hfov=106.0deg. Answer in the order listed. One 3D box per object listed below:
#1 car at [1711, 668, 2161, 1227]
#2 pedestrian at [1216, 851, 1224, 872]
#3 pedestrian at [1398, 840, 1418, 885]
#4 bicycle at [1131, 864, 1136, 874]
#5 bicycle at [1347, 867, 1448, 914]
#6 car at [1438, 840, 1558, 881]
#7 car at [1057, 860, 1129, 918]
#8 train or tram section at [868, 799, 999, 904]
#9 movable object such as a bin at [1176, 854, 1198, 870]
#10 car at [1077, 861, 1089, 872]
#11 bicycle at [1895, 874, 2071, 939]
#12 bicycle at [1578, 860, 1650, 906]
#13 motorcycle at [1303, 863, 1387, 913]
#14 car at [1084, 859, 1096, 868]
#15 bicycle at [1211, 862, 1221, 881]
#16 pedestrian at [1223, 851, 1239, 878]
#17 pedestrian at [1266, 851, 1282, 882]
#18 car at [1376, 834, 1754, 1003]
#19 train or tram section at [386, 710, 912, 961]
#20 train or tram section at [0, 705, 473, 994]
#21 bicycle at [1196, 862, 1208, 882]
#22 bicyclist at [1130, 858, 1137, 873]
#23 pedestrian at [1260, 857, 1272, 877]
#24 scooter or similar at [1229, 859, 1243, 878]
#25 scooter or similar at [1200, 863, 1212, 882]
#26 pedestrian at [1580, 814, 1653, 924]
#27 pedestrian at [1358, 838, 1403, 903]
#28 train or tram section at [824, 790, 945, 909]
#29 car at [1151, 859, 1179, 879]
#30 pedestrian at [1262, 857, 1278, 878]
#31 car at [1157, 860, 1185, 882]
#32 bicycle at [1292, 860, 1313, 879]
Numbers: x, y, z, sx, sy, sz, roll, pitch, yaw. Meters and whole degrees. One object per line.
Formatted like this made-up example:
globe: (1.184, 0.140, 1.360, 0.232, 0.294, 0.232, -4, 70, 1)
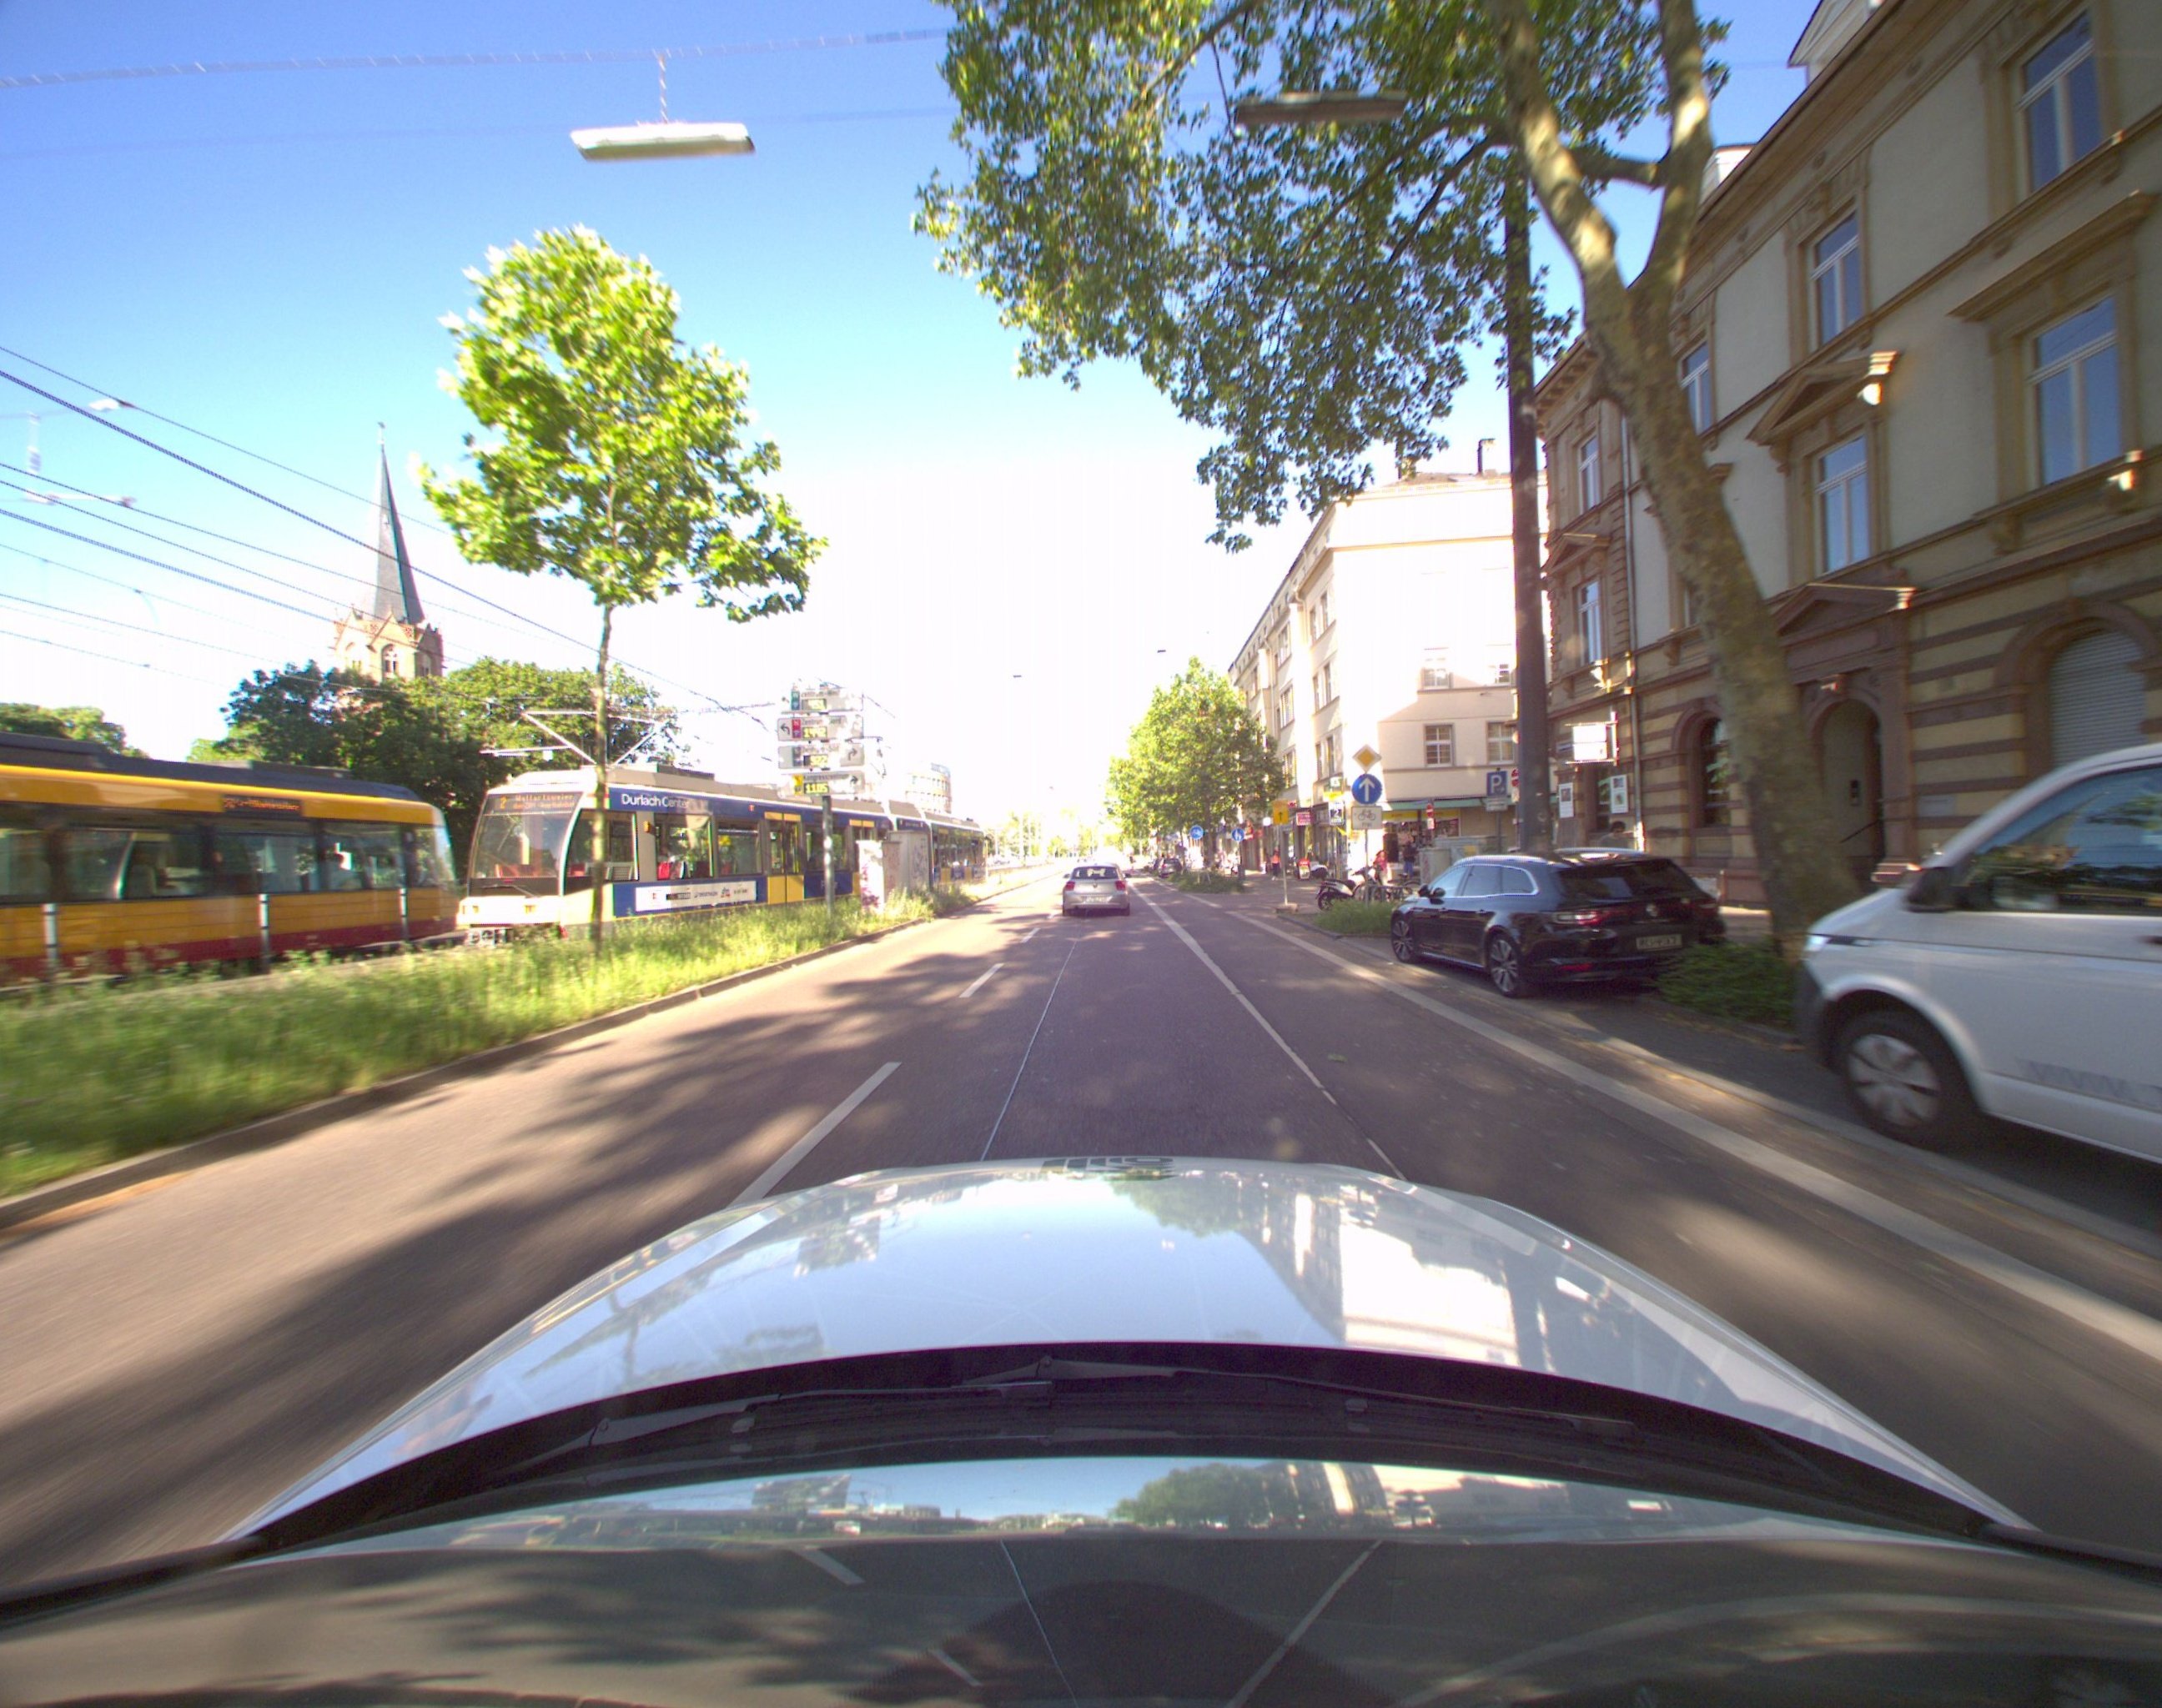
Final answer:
car: (4.783, 0.294, 2.628, 1.849, 2.014, 4.725, -3, -1, 2)
pedestrian: (11.450, 0.590, 67.087, 0.556, 1.711, 0.770, -2, -1, 2)
pedestrian: (14.026, 0.350, 34.910, 0.551, 1.903, 0.586, 0, -1, -10)
bicycle: (5.674, 1.657, 88.090, 0.497, 1.088, 1.998, 0, -1, 2)
bicycle: (7.536, 0.861, 19.452, 2.213, 1.093, 0.456, 0, -1, 2)
car: (16.756, 0.272, 32.872, 3.920, 1.474, 1.668, -2, -1, 5)
car: (0.366, 0.901, 22.596, 1.791, 1.415, 4.001, -2, -1, 2)
train or tram section: (-6.077, -0.033, 35.870, 2.939, 3.897, 10.816, 0, -1, 5)
movable object such as a bin: (12.758, 0.929, 98.191, 1.941, 1.843, 3.475, -2, 0, -4)
car: (0.262, 1.816, 117.297, 1.721, 1.470, 4.408, -1, -1, -1)
bicycle: (12.244, 0.682, 11.137, 0.547, 0.773, 1.663, -4, -1, 1)
bicycle: (12.124, 0.642, 18.582, 0.413, 0.997, 1.883, -1, -1, 2)
motorcycle: (6.579, 0.835, 20.338, 1.944, 1.231, 0.515, 0, -1, -2)
car: (1.384, 1.469, 125.317, 1.638, 1.421, 4.002, -1, -1, 2)
bicycle: (8.840, 1.120, 53.334, 0.382, 1.207, 1.881, -1, 0, 16)
pedestrian: (9.965, 0.704, 54.092, 0.856, 1.705, 0.916, -2, -1, -1)
pedestrian: (10.404, 0.672, 43.828, 0.680, 1.621, 0.562, -2, -1, -1)
car: (5.186, 0.605, 9.660, 1.811, 1.515, 4.709, 0, -1, 2)
train or tram section: (-8.211, -0.204, 19.643, 2.910, 3.812, 14.313, 0, -1, 10)
train or tram section: (-14.510, -0.023, 11.847, 2.952, 3.484, 11.282, -1, 0, -1)
bicycle: (7.820, 1.181, 52.839, 0.391, 1.215, 1.901, -3, -2, -2)
bicyclist: (5.675, 1.255, 88.051, 0.782, 1.531, 0.895, 0, -1, 2)
pedestrian: (12.363, 0.885, 54.451, 0.533, 1.332, 0.821, -3, -1, 2)
scooter or similar: (10.087, 0.935, 53.024, 0.742, 1.172, 0.848, -2, -1, -2)
scooter or similar: (8.401, 1.228, 54.762, 0.376, 1.196, 1.583, -3, -1, 22)
pedestrian: (9.233, 0.257, 14.068, 0.641, 1.827, 0.895, 0, -1, -1)
pedestrian: (9.566, 0.525, 26.026, 1.083, 2.014, 1.047, 0, -1, 2)
train or tram section: (-6.769, -0.117, 28.633, 2.940, 3.897, 3.872, 0, -1, 6)
car: (7.043, 1.247, 68.967, 2.031, 1.509, 4.595, -2, 0, 2)
pedestrian: (12.419, 0.874, 53.566, 0.782, 1.369, 0.857, -3, -1, 2)
car: (6.741, 1.253, 61.377, 1.688, 1.502, 3.803, -4, 0, 2)
bicycle: (12.383, 0.833, 45.604, 0.488, 1.024, 2.623, -1, 0, 1)
